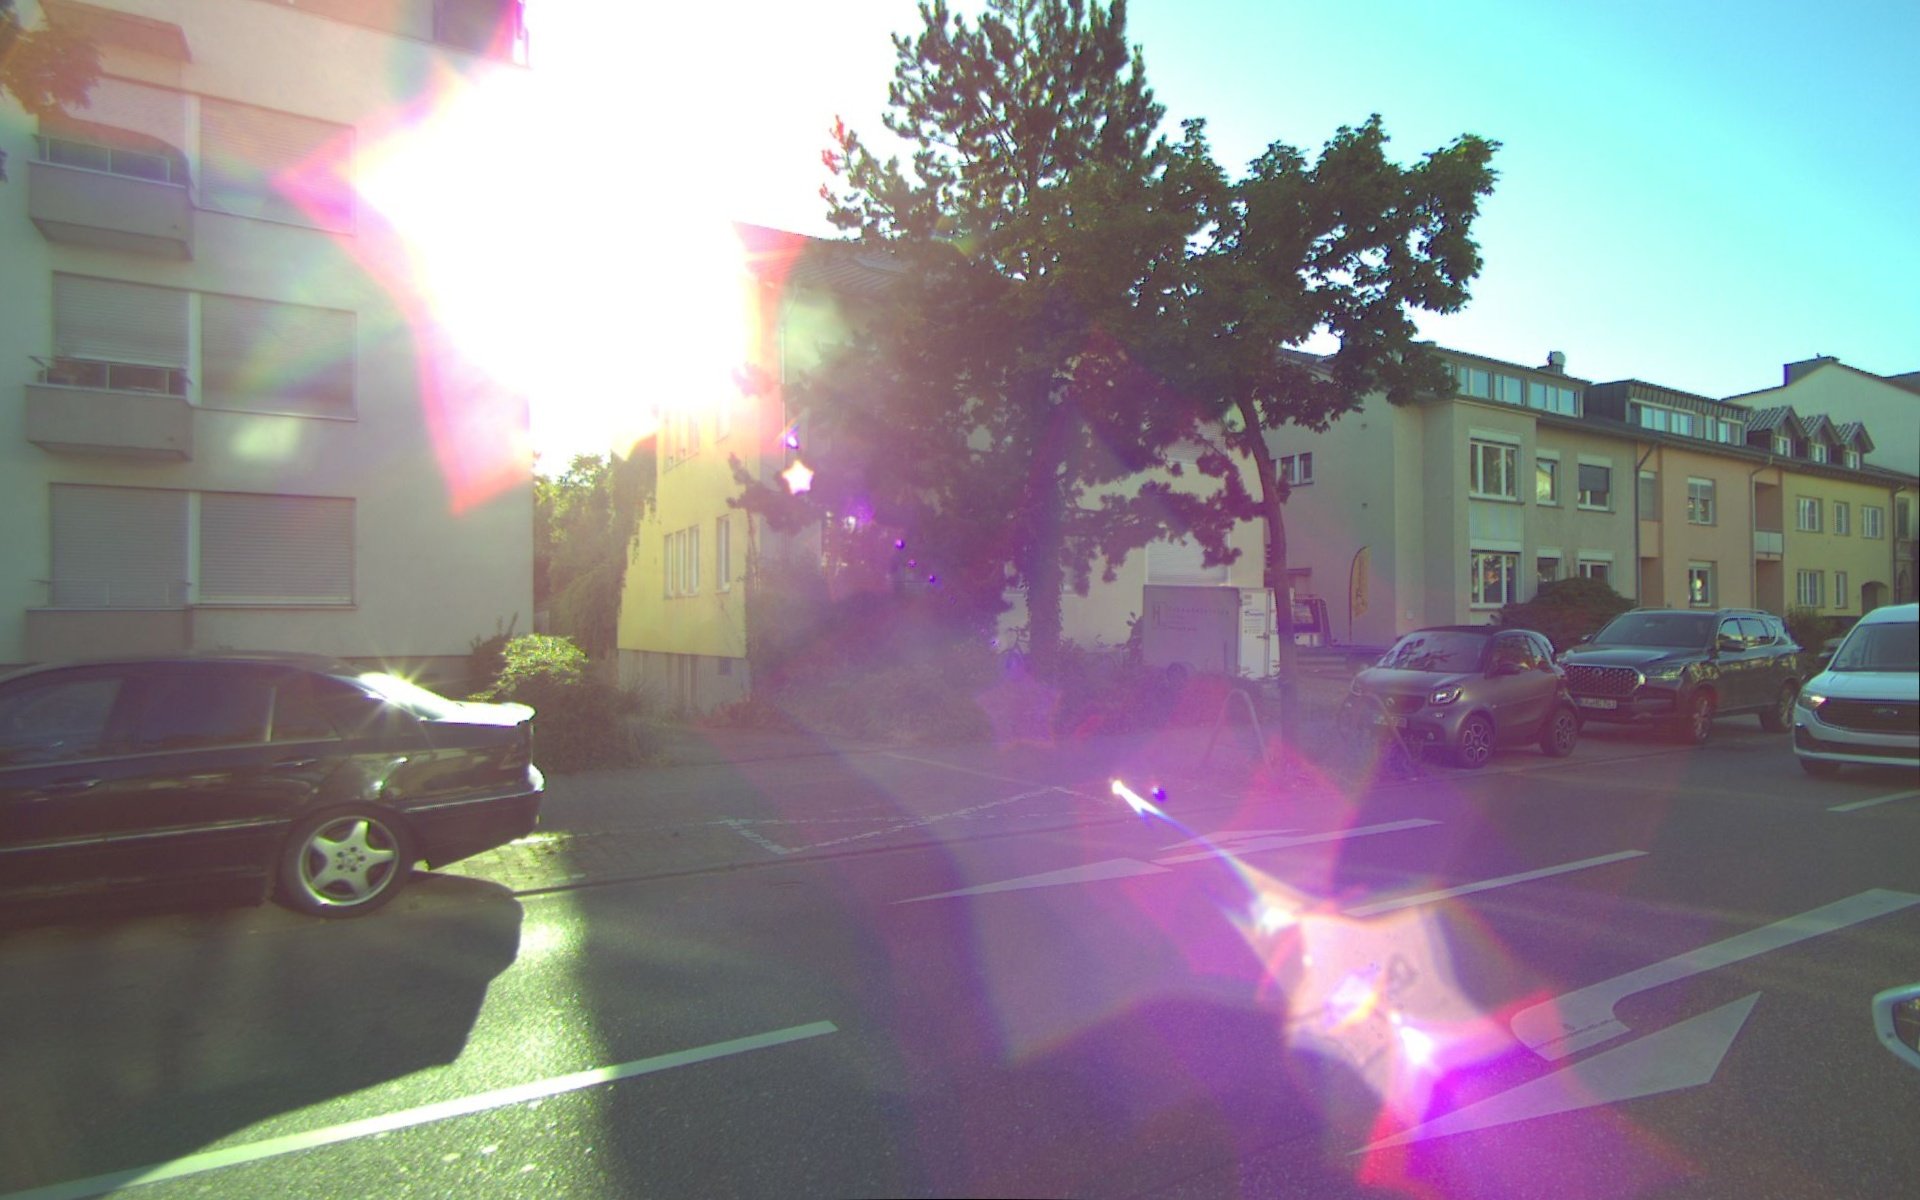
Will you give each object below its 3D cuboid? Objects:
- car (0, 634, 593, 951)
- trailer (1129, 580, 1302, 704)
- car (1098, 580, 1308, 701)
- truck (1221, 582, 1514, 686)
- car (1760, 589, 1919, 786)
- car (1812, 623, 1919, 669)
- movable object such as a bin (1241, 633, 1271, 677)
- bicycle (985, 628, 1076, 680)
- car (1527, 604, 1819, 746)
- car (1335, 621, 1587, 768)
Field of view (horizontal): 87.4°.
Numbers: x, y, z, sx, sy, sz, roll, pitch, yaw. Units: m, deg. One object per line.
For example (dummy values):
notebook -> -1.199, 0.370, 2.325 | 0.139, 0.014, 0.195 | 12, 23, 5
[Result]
car -> -4.461, 0.914, 5.506 | 4.393, 1.426, 1.629 | 1, -1, -31
trailer -> 4.561, 0.731, 18.169 | 1.535, 2.040, 2.758 | 1, -2, -32
car -> 4.375, 0.719, 18.652 | 1.632, 1.998, 3.812 | 1, -2, -30
truck -> 9.755, 0.798, 24.929 | 2.250, 2.214, 6.863 | 1, -2, -30
car -> 10.626, 0.856, 10.719 | 4.382, 1.827, 1.878 | 1, -3, -32
car -> 29.807, 1.474, 32.928 | 3.707, 1.427, 1.658 | 1, -2, -29
movable object such as a bin -> 7.169, 1.323, 24.316 | 0.531, 1.044, 0.478 | 1, -1, -29
bicycle -> 1.523, 1.139, 21.441 | 2.022, 1.078, 0.516 | 1, -1, -31
car -> 10.592, 1.007, 14.837 | 4.673, 1.803, 1.877 | 1, -1, -32
car -> 6.076, 1.048, 12.172 | 2.719, 1.576, 1.565 | 1, -1, -32
